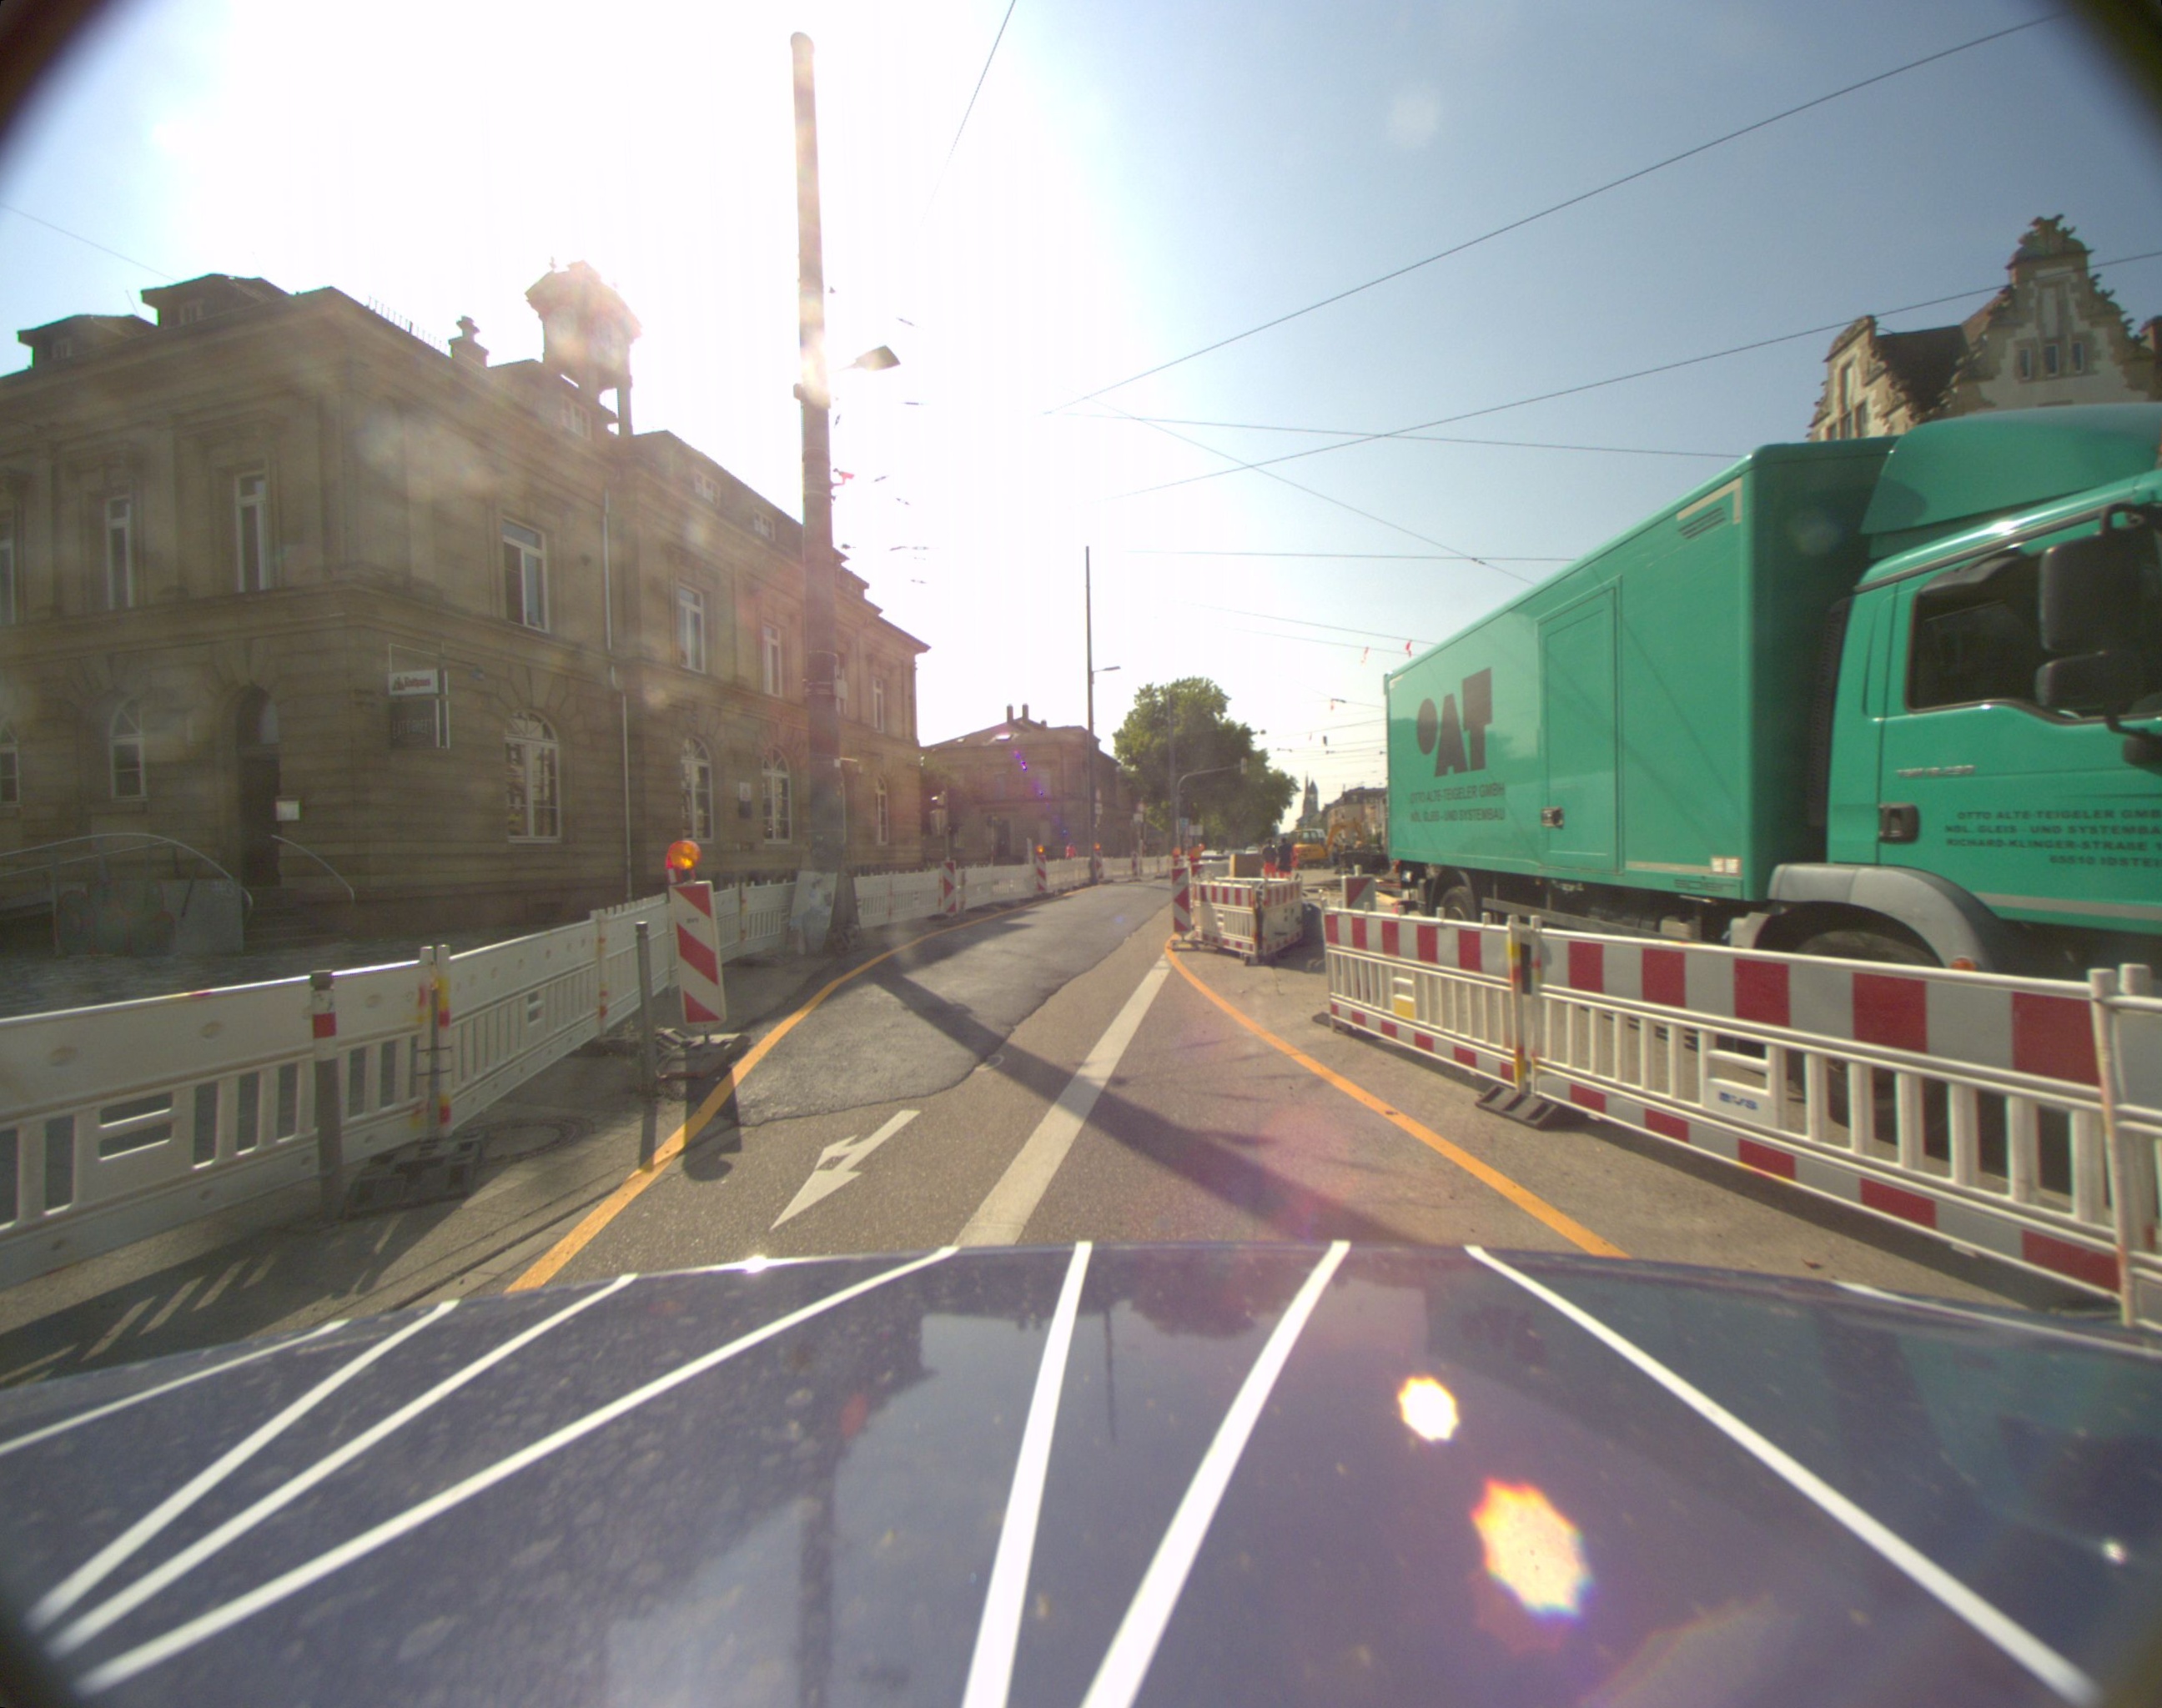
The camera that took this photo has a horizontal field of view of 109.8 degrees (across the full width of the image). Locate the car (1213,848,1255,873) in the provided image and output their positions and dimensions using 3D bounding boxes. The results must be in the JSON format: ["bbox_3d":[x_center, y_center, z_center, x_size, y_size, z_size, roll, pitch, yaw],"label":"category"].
[{"bbox_3d":[9.142,0.368,45.214,1.996,1.387,4.005,-1,1,17],"label":"car"}]

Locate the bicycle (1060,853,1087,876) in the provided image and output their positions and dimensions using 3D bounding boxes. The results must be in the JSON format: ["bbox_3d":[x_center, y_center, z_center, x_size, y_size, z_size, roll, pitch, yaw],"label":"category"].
[{"bbox_3d":[-0.340,0.478,35.292,0.742,1.026,2.134,-1,1,14],"label":"bicycle"}]

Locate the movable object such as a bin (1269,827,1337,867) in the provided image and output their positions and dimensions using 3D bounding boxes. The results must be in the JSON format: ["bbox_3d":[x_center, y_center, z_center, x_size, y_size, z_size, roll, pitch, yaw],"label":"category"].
[{"bbox_3d":[14.357,-0.472,49.333,3.172,2.396,2.916,1,3,-8],"label":"movable object such as a bin"}]

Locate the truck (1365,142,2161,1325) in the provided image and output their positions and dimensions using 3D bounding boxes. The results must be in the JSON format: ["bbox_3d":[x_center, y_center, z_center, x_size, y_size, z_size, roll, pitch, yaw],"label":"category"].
[{"bbox_3d":[5.118,-0.430,6.190,2.814,3.767,9.017,0,1,4],"label":"truck"}]

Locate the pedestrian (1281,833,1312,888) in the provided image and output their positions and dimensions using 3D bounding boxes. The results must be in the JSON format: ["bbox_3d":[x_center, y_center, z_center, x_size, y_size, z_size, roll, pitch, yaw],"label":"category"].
[{"bbox_3d":[7.300,0.222,25.783,0.920,1.830,0.802,-1,1,8],"label":"pedestrian"}]

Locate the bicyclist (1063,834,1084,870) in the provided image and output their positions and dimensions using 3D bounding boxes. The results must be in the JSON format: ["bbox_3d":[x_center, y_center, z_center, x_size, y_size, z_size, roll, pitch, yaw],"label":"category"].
[{"bbox_3d":[-0.354,-0.100,35.250,0.735,1.616,0.854,-1,1,14],"label":"bicyclist"}]

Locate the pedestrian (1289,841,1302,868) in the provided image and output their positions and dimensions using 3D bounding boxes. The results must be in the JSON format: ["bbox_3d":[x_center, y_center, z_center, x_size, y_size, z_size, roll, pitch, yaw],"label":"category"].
[{"bbox_3d":[13.451,0.026,47.674,0.700,1.729,0.913,0,1,20],"label":"pedestrian"}]

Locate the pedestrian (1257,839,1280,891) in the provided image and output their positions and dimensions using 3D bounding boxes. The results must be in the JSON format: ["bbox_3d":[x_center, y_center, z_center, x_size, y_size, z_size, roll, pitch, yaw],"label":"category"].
[{"bbox_3d":[6.485,0.380,26.337,0.719,1.765,0.466,-1,1,8],"label":"pedestrian"}]
